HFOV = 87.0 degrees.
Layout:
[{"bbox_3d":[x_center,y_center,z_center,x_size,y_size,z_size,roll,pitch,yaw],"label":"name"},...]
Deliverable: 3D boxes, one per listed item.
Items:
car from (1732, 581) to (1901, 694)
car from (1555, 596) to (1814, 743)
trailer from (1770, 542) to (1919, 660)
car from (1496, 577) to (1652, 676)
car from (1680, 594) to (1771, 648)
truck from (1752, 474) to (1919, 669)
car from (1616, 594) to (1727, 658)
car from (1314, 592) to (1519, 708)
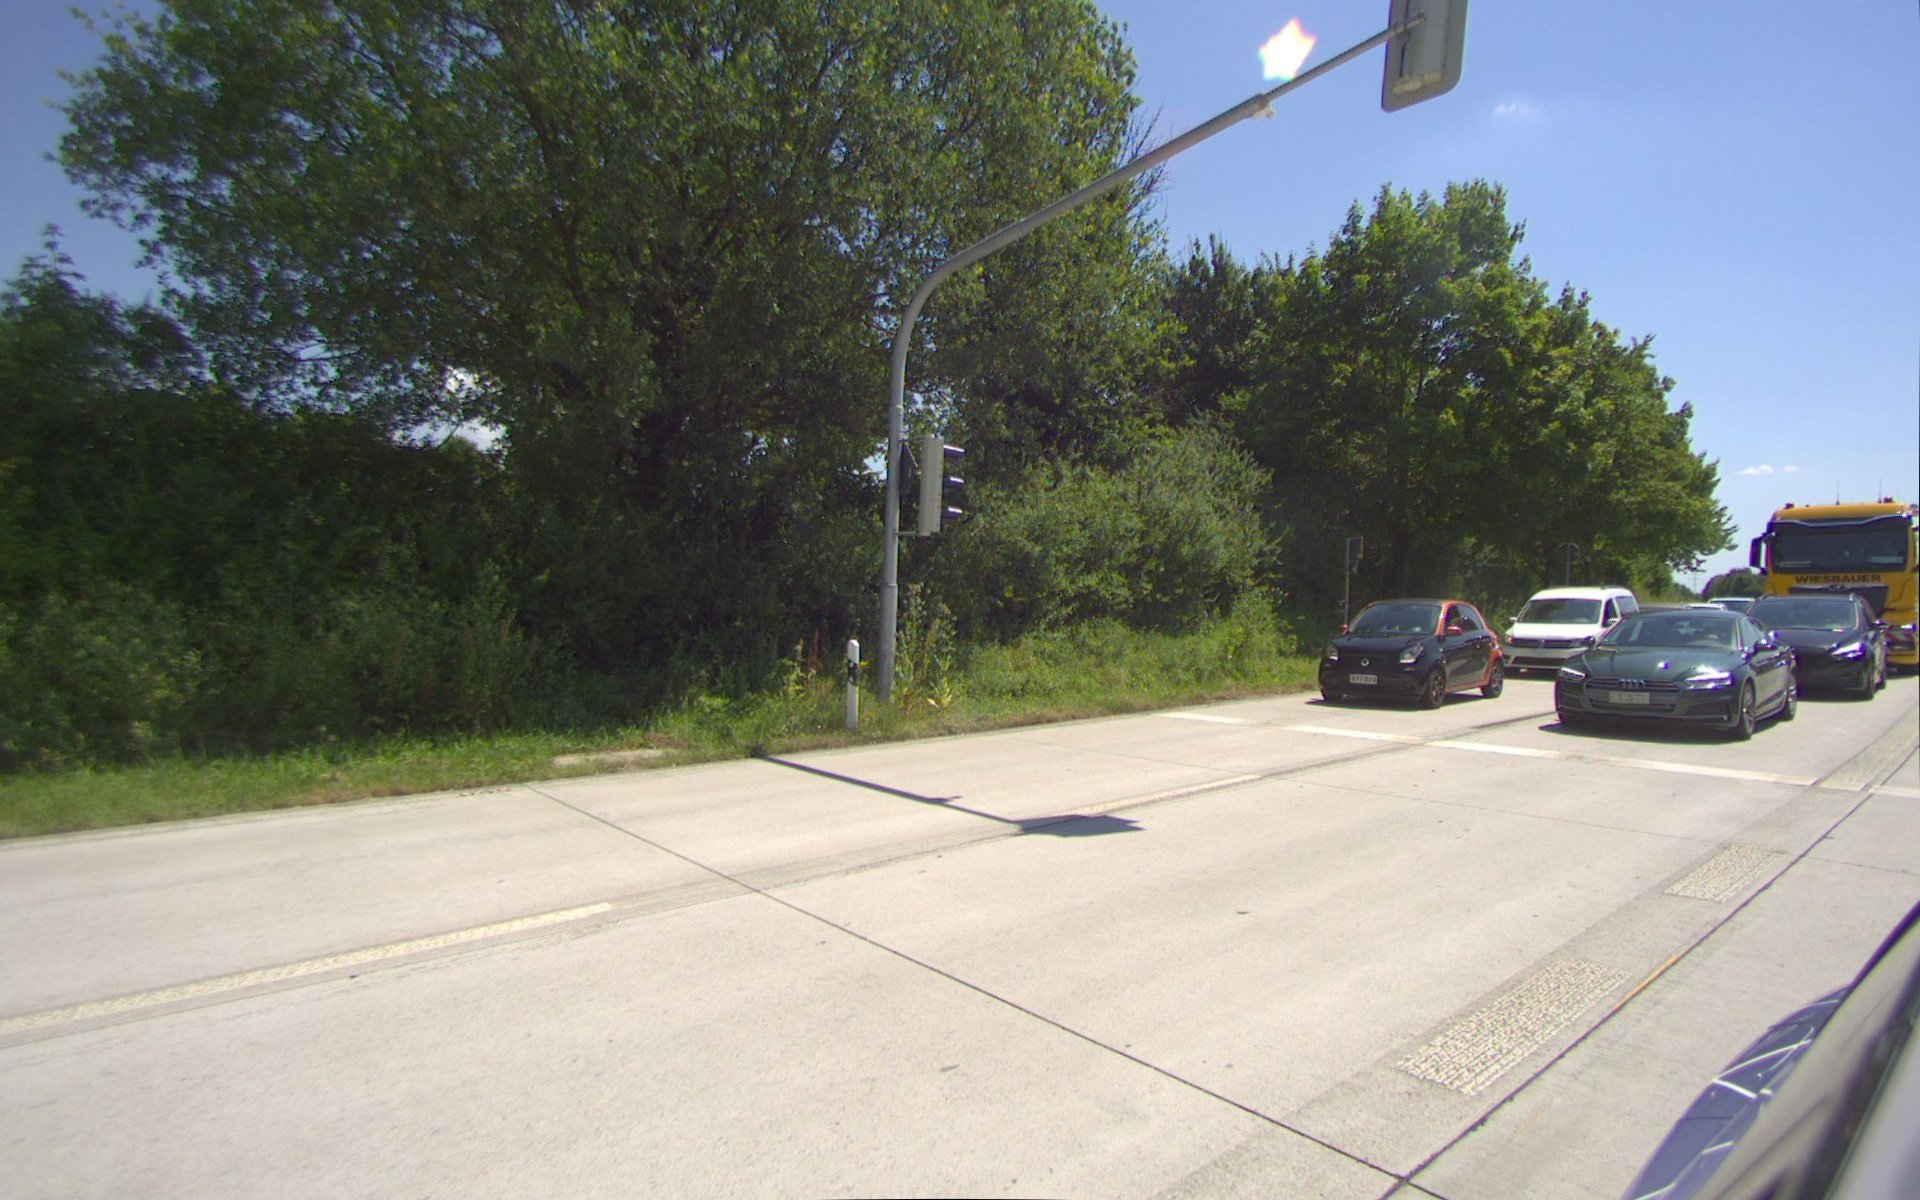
[{"bbox_3d":[14.501,0.512,17.040,4.571,1.660,1.785,-1,1,-45],"label":"car"},{"bbox_3d":[9.011,0.690,12.421,4.533,1.428,1.769,-1,1,-43],"label":"car"},{"bbox_3d":[26.112,-0.010,29.157,3.027,2.626,16.099,0,0,43],"label":"trailer"},{"bbox_3d":[12.794,0.450,20.953,1.768,1.830,4.716,0,1,44],"label":"car"},{"bbox_3d":[23.101,0.570,30.477,1.767,1.480,4.527,0,1,43],"label":"car"},{"bbox_3d":[20.469,-0.599,23.172,3.013,3.820,7.353,0,1,43],"label":"truck"},{"bbox_3d":[18.438,0.602,26.145,1.767,1.480,4.296,0,1,43],"label":"car"},{"bbox_3d":[7.018,0.649,15.403,1.768,1.528,3.594,0,1,44],"label":"car"}]
